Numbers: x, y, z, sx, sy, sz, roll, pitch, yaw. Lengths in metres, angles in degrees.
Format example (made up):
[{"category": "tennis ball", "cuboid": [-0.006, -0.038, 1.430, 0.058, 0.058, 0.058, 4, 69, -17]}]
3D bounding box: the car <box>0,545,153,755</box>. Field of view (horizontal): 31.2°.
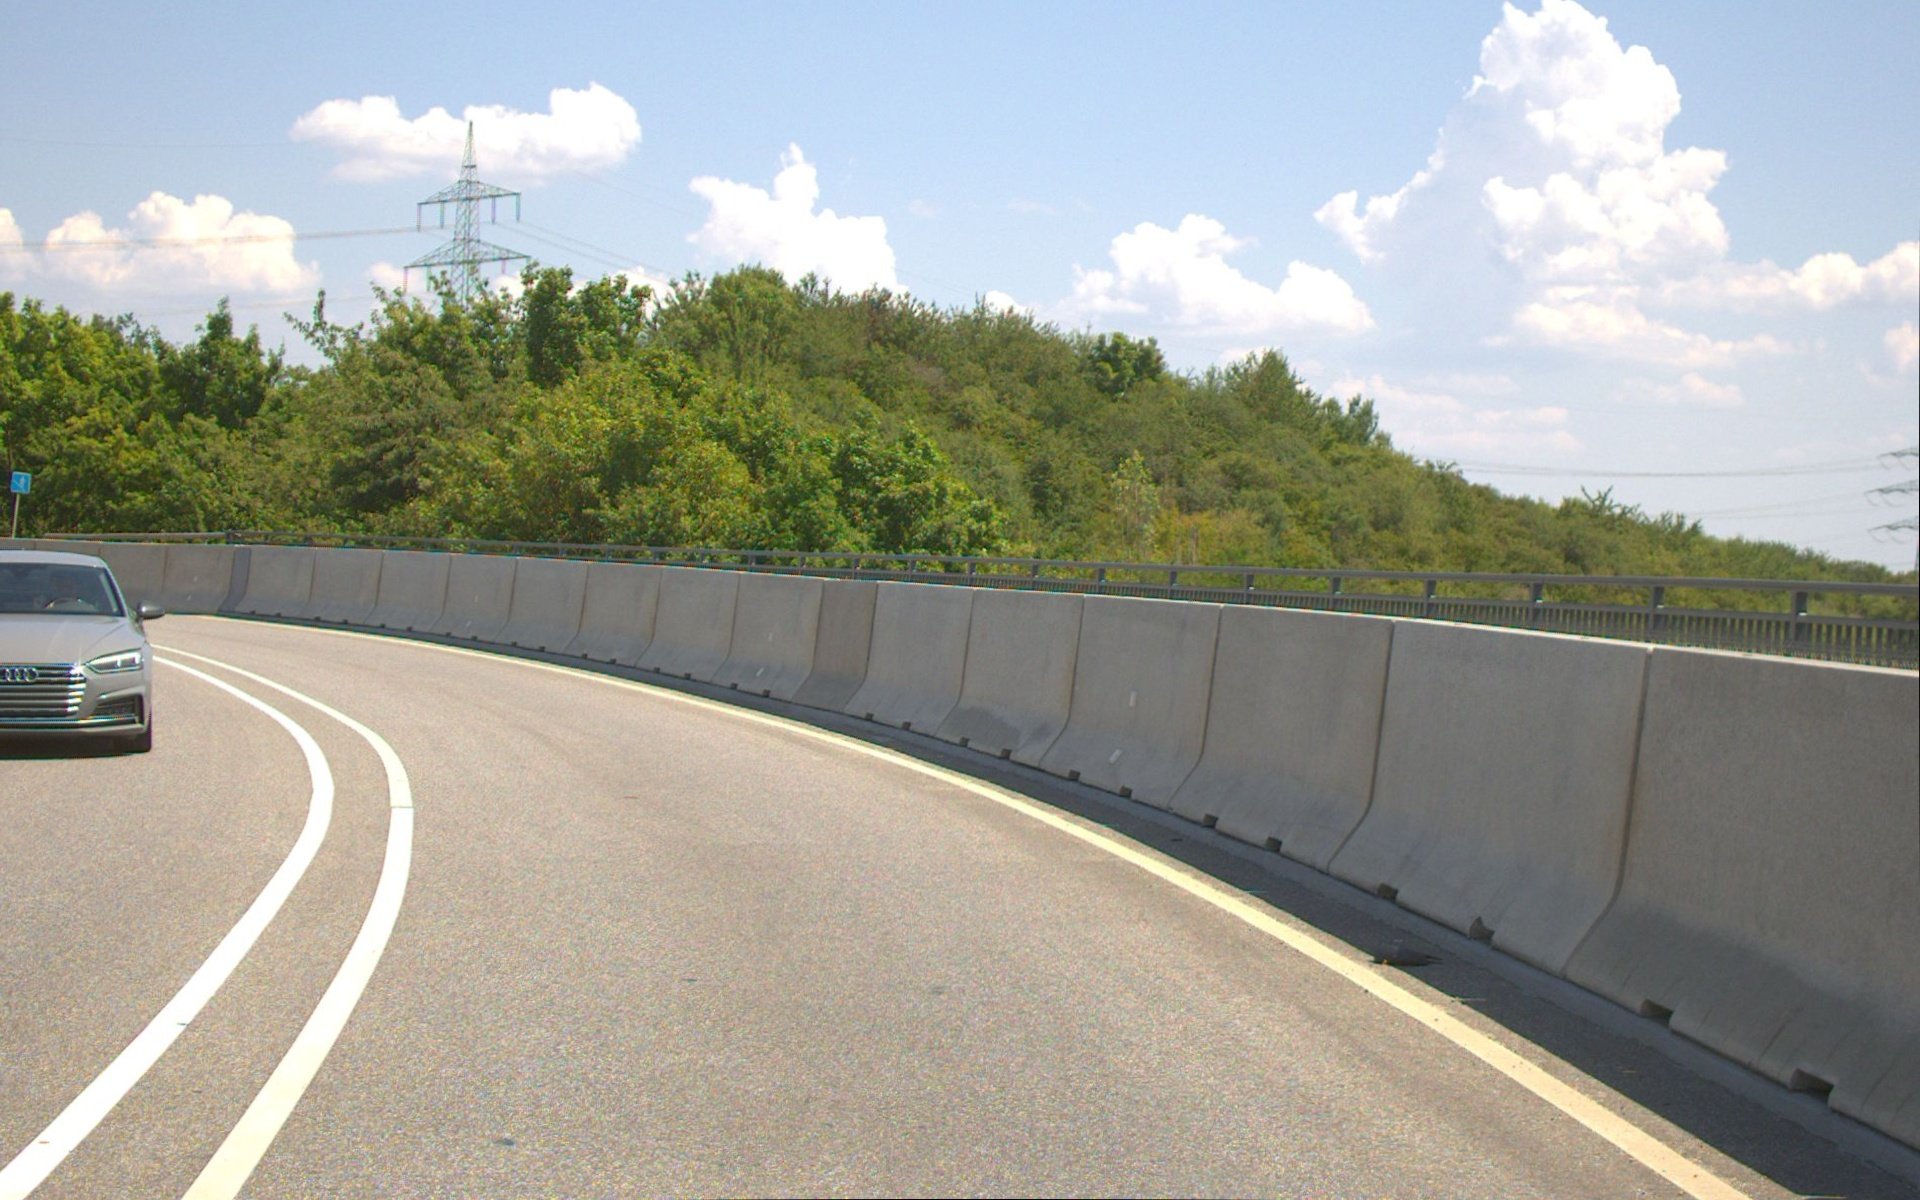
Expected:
[{"category": "car", "cuboid": [-6.877, 0.306, 25.240, 1.778, 1.380, 4.283, 0, 1, -14]}]
